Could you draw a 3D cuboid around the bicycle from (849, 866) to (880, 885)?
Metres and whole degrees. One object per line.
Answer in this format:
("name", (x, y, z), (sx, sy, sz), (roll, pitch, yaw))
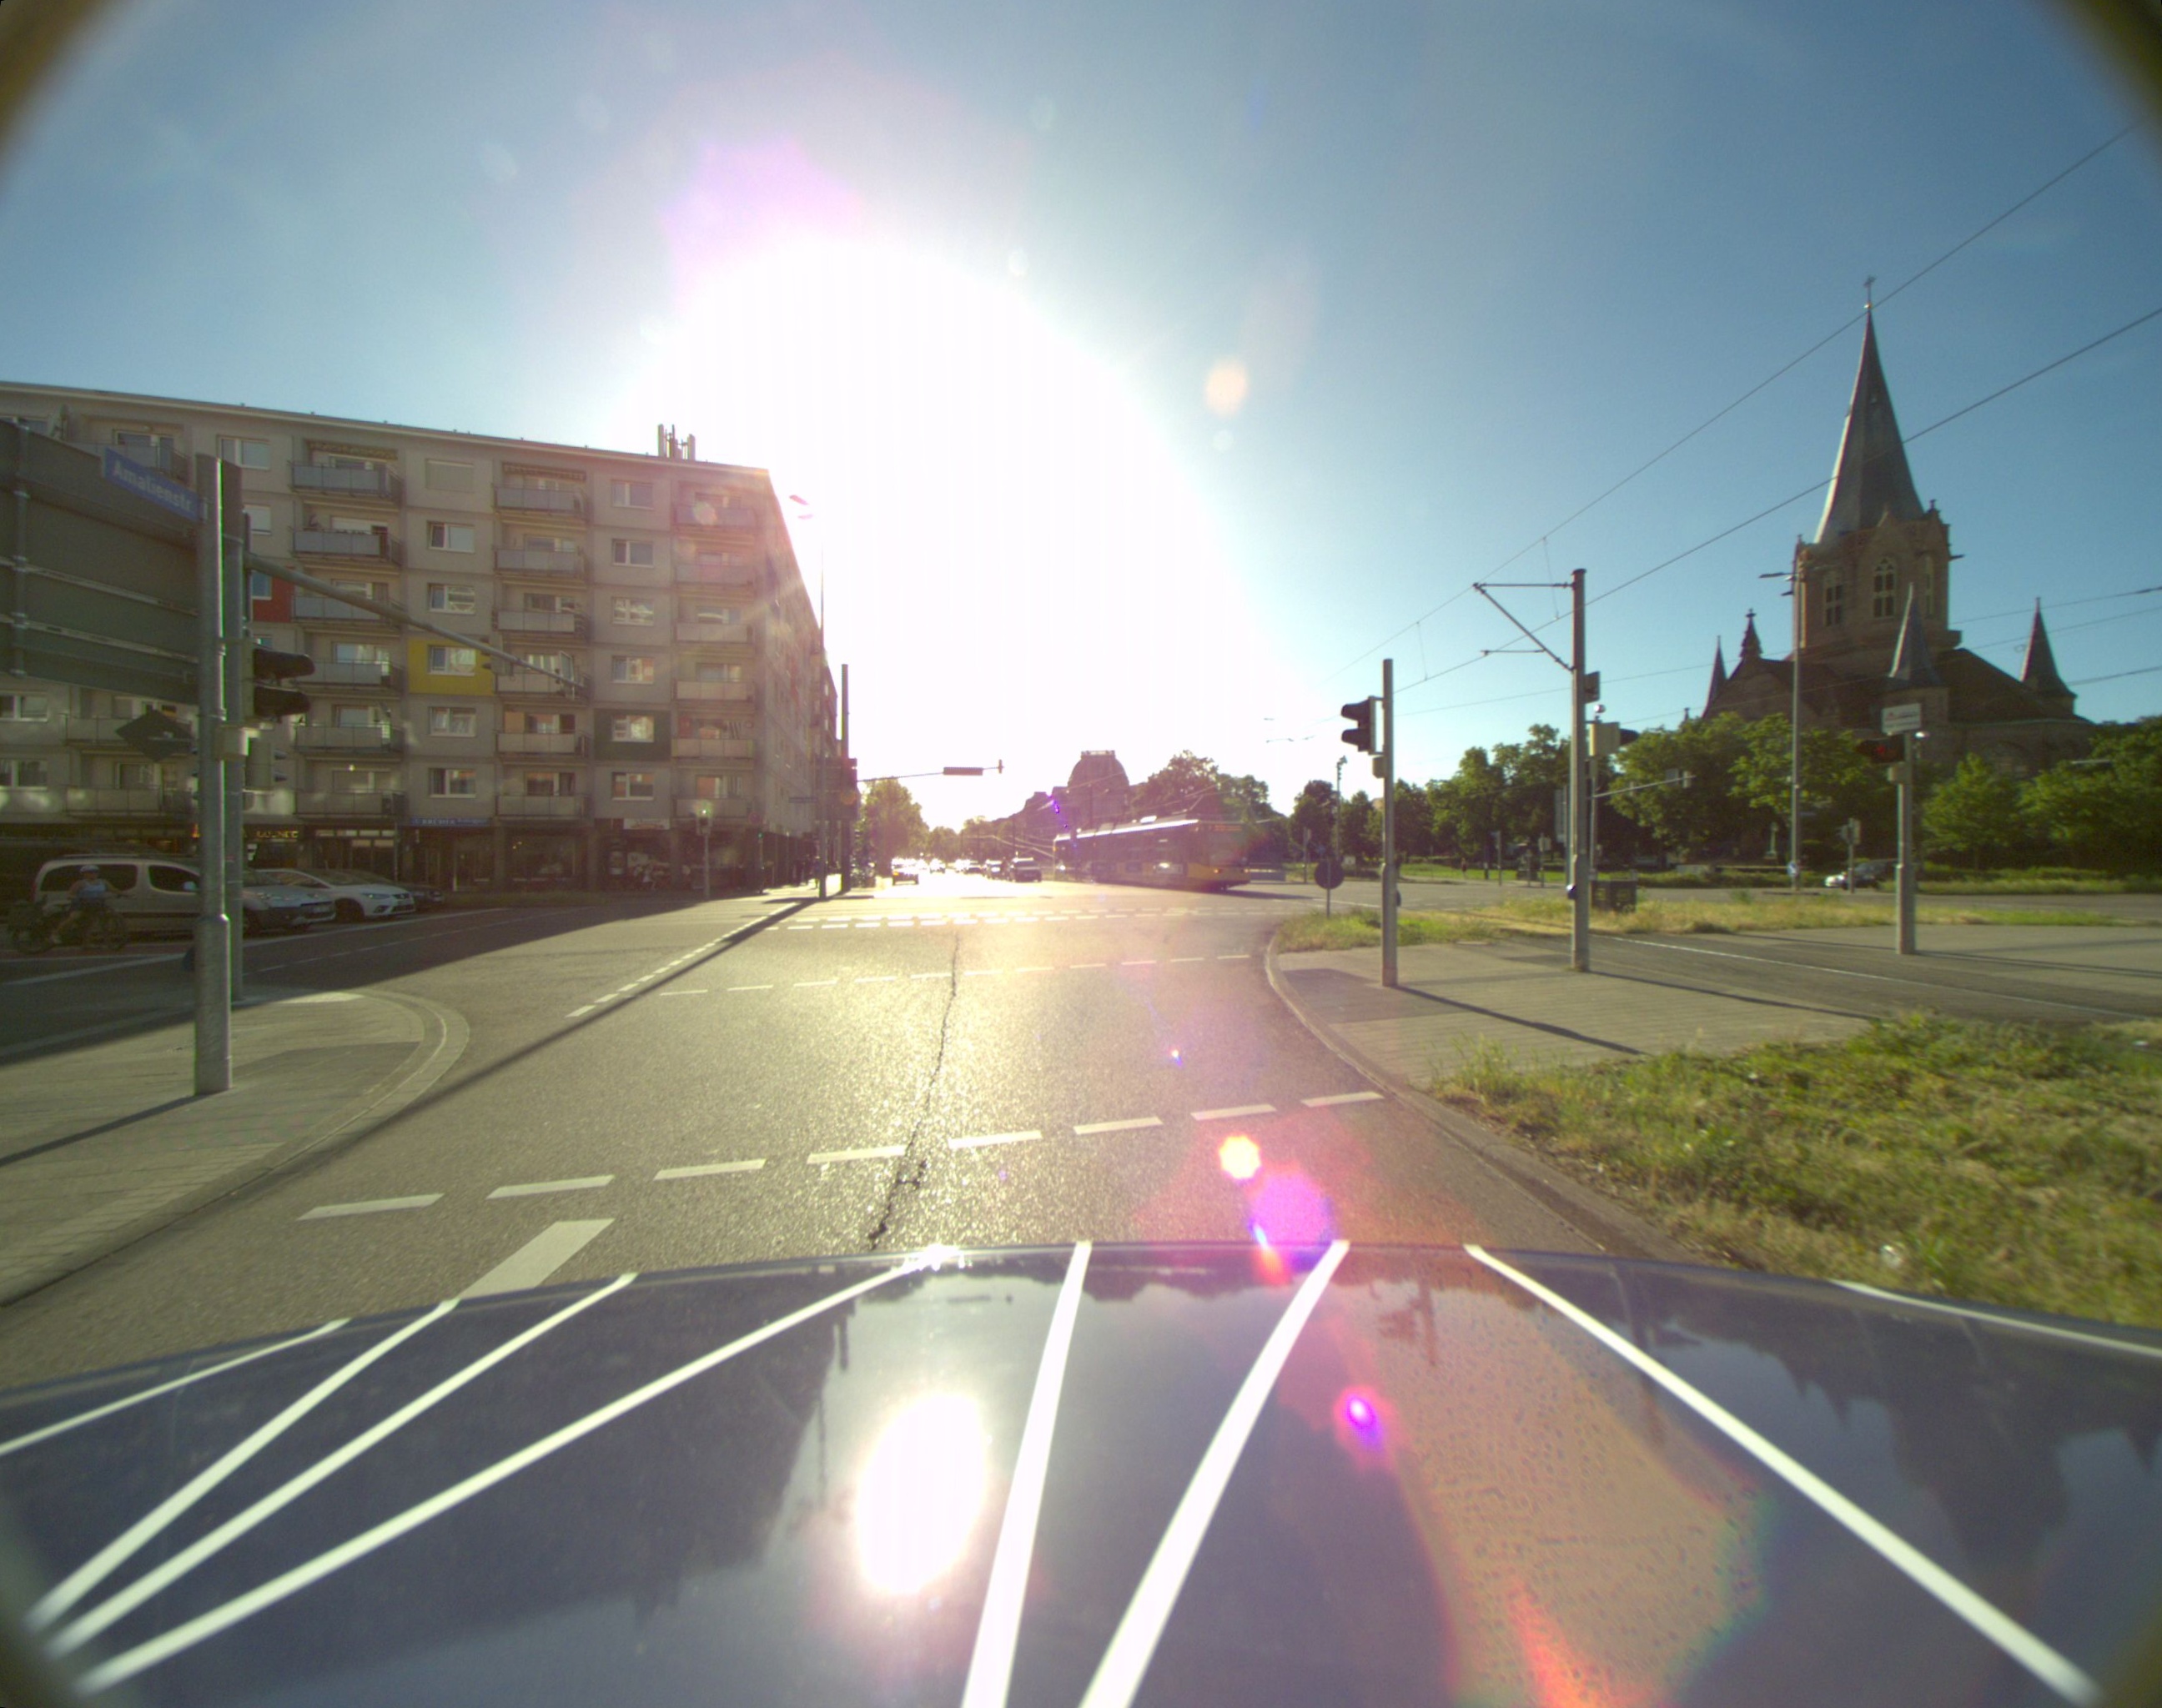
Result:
("bicycle", (-12.978, 1.286, 45.503), (1.756, 1.094, 0.399), (0, 1, -16))

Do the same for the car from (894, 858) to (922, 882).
("car", (-12.680, 1.148, 55.679), (1.904, 1.677, 4.113), (-1, 0, -13))

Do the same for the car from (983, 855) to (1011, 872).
("car", (-7.848, 0.881, 70.677), (1.893, 1.421, 4.127), (-2, 1, -14))

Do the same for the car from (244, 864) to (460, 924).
("car", (-20.978, 1.117, 22.044), (4.160, 1.460, 1.973), (-2, 1, -4))

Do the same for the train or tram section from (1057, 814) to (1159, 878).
("train or tram section", (1.361, -0.429, 49.596), (2.960, 3.591, 13.618), (-1, 0, -14))

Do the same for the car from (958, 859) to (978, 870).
("car", (-13.936, 1.317, 93.478), (1.989, 1.284, 4.321), (-1, 0, -14))

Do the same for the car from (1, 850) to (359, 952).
("car", (-19.056, 0.914, 16.372), (4.604, 1.840, 1.944), (-2, 1, -15))

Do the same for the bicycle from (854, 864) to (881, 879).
("bicycle", (-14.745, 1.197, 52.471), (1.825, 1.054, 0.414), (0, 1, -19))

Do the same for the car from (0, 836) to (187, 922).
("car", (-28.256, 0.631, 20.343), (5.255, 2.186, 2.375), (0, 0, -10))

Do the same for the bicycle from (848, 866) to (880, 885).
("bicycle", (-12.894, 1.268, 45.093), (1.758, 1.070, 0.405), (-2, 2, -16))

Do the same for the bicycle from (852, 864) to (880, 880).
("bicycle", (-14.741, 1.202, 52.011), (1.825, 1.054, 0.414), (0, 1, -18))

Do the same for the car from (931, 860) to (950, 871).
("car", (-17.192, 1.351, 92.655), (1.989, 1.284, 4.387), (-1, 0, -14))

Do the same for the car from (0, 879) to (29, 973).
("car", (-19.382, 1.273, 11.221), (4.165, 1.494, 1.842), (-2, 3, -16))

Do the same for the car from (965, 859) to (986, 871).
("car", (-11.644, 1.211, 83.497), (1.860, 1.284, 4.090), (-1, 0, -14))

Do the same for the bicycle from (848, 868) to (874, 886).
("bicycle", (-12.538, 1.331, 43.339), (1.434, 1.005, 0.410), (1, 1, -13))

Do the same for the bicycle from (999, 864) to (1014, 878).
("bicycle", (-5.630, 1.270, 57.312), (0.631, 0.934, 1.903), (-2, 1, -19))

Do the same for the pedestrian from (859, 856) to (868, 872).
("pedestrian", (-23.600, 1.086, 82.411), (0.773, 1.641, 0.671), (-1, 1, -2))

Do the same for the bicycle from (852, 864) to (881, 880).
("bicycle", (-14.060, 1.183, 49.827), (1.825, 1.063, 0.414), (0, 2, -19))

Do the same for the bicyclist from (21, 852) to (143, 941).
("bicyclist", (-18.618, 0.762, 14.192), (0.936, 1.551, 0.940), (-2, 2, -16))

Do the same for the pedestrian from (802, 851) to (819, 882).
("pedestrian", (-16.980, 0.771, 47.706), (0.792, 1.875, 0.874), (-1, 1, -7))

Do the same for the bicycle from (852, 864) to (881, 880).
("bicycle", (-14.229, 1.196, 50.393), (1.825, 1.006, 0.414), (0, 1, -19))

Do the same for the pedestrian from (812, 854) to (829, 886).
("pedestrian", (-14.543, 0.896, 42.485), (0.792, 1.766, 0.873), (-1, 1, -15))

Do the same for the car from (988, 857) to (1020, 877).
("car", (-6.371, 1.061, 62.764), (2.001, 1.421, 4.127), (-2, 1, -14))

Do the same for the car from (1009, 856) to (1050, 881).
("car", (-3.633, 0.973, 52.696), (2.001, 1.528, 4.350), (-2, 1, -14))

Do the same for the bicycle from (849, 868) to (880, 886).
("bicycle", (-12.653, 1.332, 44.407), (1.706, 1.005, 0.410), (1, 1, -17))

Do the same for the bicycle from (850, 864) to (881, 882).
("bicycle", (-13.643, 1.213, 48.147), (1.824, 1.055, 0.414), (-2, 3, -15))

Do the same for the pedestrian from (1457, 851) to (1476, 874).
("pedestrian", (31.319, 0.664, 61.775), (0.845, 1.836, 1.113), (-2, 2, -17))

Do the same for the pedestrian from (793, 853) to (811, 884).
("pedestrian", (-16.553, 0.854, 45.058), (0.866, 1.824, 1.209), (-1, 1, -15))

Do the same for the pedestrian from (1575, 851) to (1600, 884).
("pedestrian", (31.628, 0.824, 47.458), (0.879, 2.002, 0.924), (-2, 2, -13))

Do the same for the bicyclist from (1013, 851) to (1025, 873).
("bicyclist", (-4.688, 0.591, 57.547), (0.695, 1.650, 0.918), (-2, 2, -14))

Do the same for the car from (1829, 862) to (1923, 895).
("car", (44.465, 1.343, 42.531), (3.944, 1.565, 1.835), (-2, 1, -12))

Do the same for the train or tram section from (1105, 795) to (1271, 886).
("train or tram section", (4.589, -0.519, 37.146), (2.960, 3.663, 13.166), (-1, 0, -16))

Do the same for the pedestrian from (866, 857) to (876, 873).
("pedestrian", (-25.206, 1.306, 91.280), (0.868, 1.873, 1.220), (-1, 1, -31))

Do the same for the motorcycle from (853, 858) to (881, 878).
("motorcycle", (-15.591, 1.007, 55.425), (1.886, 1.421, 0.887), (1, 0, -18))

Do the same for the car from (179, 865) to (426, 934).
("car", (-19.844, 1.107, 19.603), (4.002, 1.432, 1.846), (-2, 1, -16))

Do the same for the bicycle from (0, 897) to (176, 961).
("bicycle", (-18.685, 1.380, 14.187), (2.150, 0.995, 0.860), (-2, 1, -16))

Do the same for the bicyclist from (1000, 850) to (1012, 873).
("bicyclist", (-5.647, 0.550, 57.276), (0.704, 1.720, 0.852), (-2, 2, -19))

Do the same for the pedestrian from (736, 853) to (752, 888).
("pedestrian", (-17.199, 0.849, 38.796), (0.569, 1.763, 0.664), (-1, 1, -7))

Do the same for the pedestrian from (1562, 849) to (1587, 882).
("pedestrian", (30.657, 0.707, 47.193), (0.879, 2.002, 0.924), (-2, 2, -13))
